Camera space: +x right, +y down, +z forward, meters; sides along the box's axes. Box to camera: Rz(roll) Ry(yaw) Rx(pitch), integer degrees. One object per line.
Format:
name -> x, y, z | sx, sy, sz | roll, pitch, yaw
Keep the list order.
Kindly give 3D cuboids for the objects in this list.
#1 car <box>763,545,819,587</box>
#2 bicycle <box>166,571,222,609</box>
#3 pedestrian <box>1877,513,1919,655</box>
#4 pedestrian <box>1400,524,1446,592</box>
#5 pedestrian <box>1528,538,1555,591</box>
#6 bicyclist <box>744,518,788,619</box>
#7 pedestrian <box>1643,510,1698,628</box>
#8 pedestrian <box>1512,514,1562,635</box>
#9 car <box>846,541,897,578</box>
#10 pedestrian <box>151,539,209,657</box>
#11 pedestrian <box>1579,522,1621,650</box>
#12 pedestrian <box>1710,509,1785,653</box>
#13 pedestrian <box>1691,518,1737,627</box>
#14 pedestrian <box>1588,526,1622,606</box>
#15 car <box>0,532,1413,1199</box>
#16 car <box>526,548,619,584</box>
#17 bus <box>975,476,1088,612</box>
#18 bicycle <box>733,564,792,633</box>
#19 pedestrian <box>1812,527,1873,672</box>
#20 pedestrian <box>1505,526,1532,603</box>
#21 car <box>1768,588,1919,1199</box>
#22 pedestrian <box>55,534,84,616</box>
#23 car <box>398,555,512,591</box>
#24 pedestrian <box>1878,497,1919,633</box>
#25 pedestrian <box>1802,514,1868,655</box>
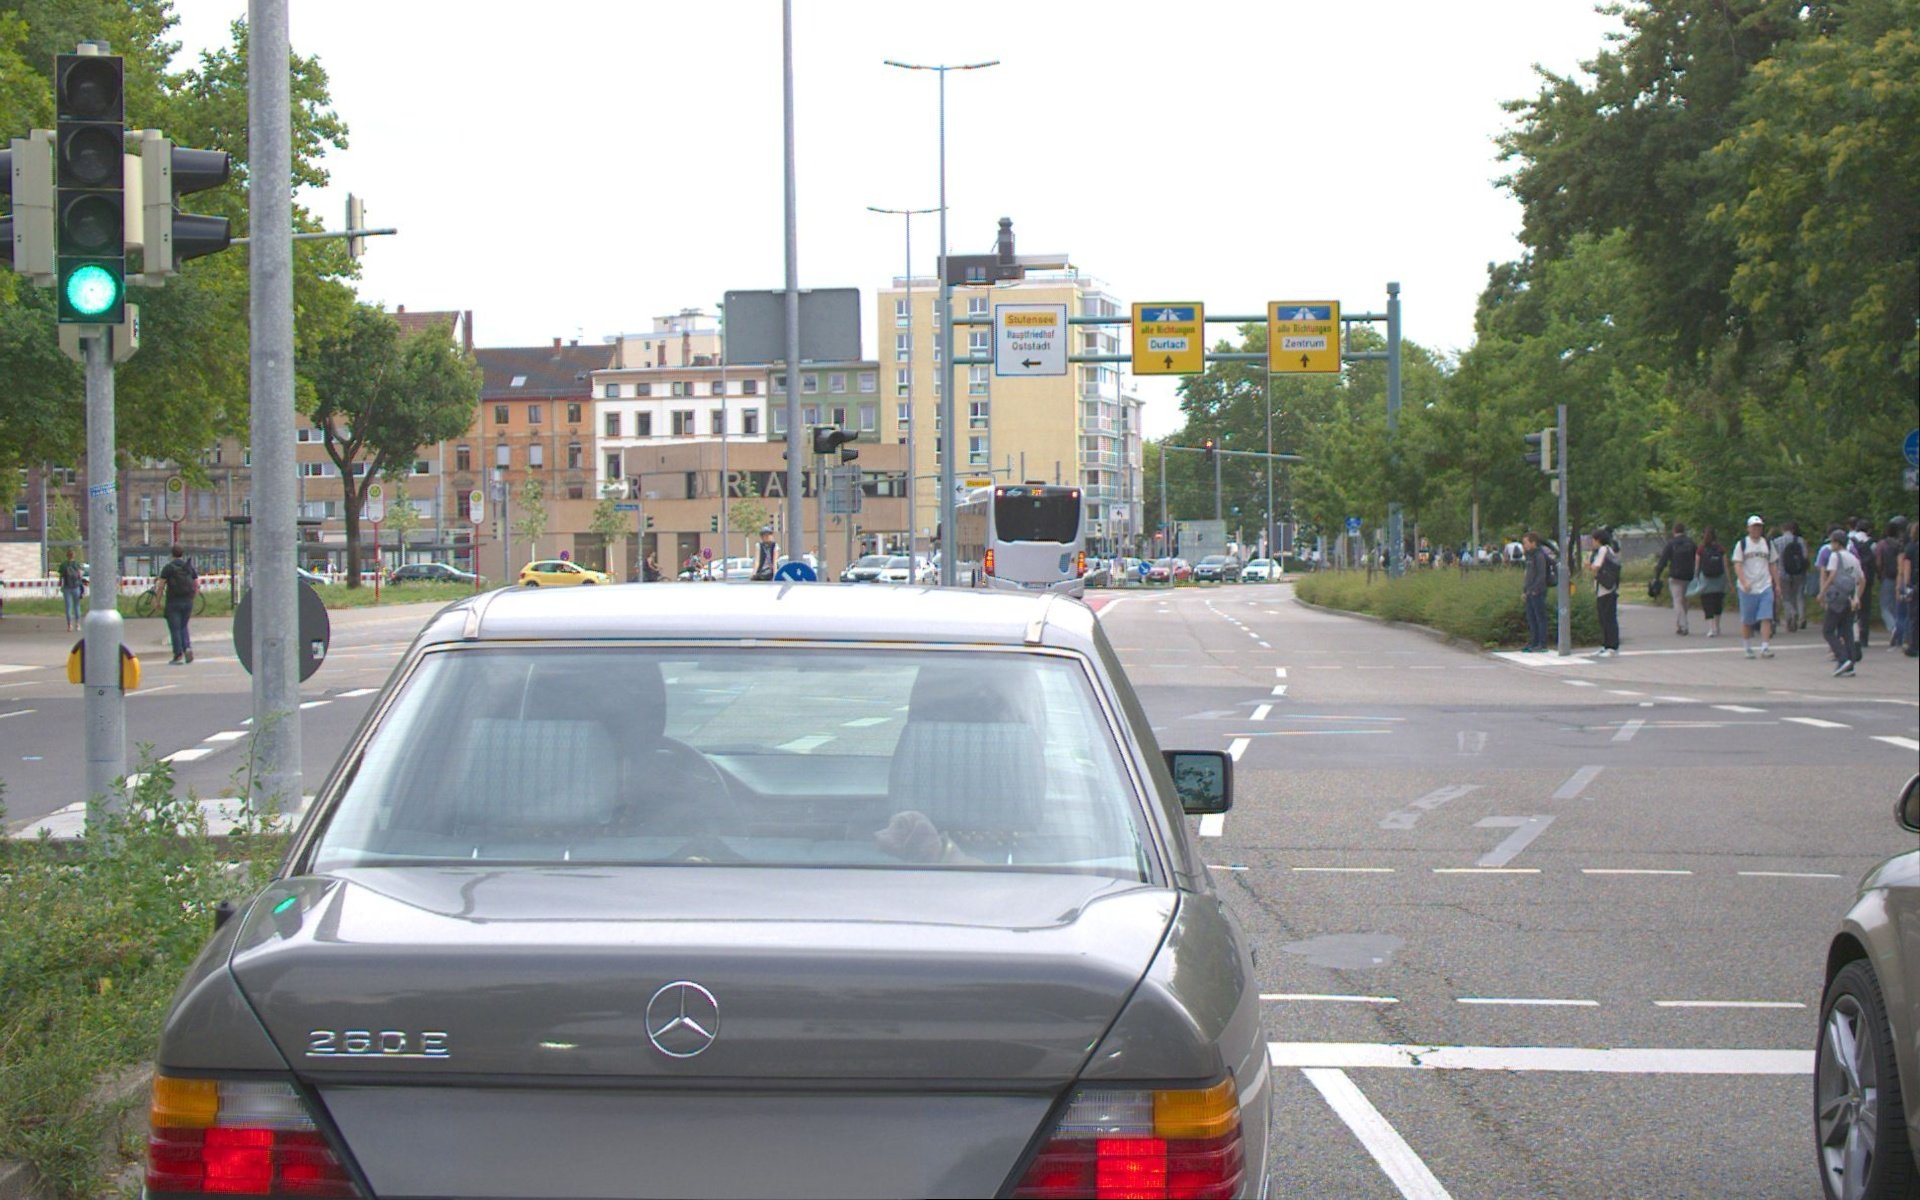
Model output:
car -> -6.092, -1.245, 124.342 | 1.761, 1.484, 4.546 | 0, 1, 0
bicycle -> -19.199, -0.261, 86.208 | 0.470, 0.915, 2.338 | 0, 1, 11
pedestrian -> 11.859, -0.205, 42.836 | 0.656, 1.739, 0.780 | -1, 1, 1
pedestrian -> 12.418, -1.125, 92.142 | 0.935, 1.824, 0.885 | 0, 1, 30
pedestrian -> 16.006, -0.985, 94.666 | 0.657, 1.465, 0.562 | 0, 1, 1
bicyclist -> -3.037, -0.499, 53.835 | 0.572, 1.568, 0.699 | 0, 1, 7
pedestrian -> 11.114, -0.491, 53.803 | 0.693, 1.815, 0.954 | -1, 1, 3
pedestrian -> 8.297, -0.372, 49.453 | 0.601, 1.729, 0.654 | 0, 1, 1
car -> -3.652, -1.685, 142.530 | 1.802, 1.484, 4.288 | 0, 1, 3
pedestrian -> -11.764, -0.027, 51.836 | 0.758, 1.776, 0.722 | 0, -1, -21
pedestrian -> 8.718, -0.200, 46.825 | 0.454, 1.729, 0.637 | 0, 1, 1
pedestrian -> 10.228, -0.253, 44.687 | 0.644, 1.846, 0.829 | 1, 0, -11
pedestrian -> 11.563, -0.424, 52.716 | 0.555, 1.649, 0.753 | -1, 1, 3
pedestrian -> 13.584, -0.719, 72.414 | 0.587, 1.677, 0.748 | -1, 1, 3
car -> -0.336, 0.627, 6.387 | 1.761, 1.484, 4.171 | 0, 1, -1
car -> -16.709, -1.473, 148.331 | 3.856, 1.512, 1.660 | 1, 1, -2
bus -> 1.868, -1.471, 90.059 | 2.831, 3.379, 8.183 | 0, 1, 1
bicycle -> -3.078, -0.035, 53.716 | 0.573, 1.052, 1.926 | 0, 1, 7
pedestrian -> 10.285, -0.012, 40.067 | 0.545, 1.681, 0.637 | 0, 1, 1
pedestrian -> 14.601, -0.941, 89.877 | 0.614, 2.007, 0.597 | 0, 1, 2
car -> 2.792, 0.725, 6.128 | 1.724, 1.452, 3.736 | 0, 1, -2
pedestrian -> -18.241, -0.507, 70.429 | 0.560, 1.662, 0.627 | 0, -1, -14
car -> -21.753, -1.167, 148.246 | 4.669, 1.470, 1.660 | 1, 1, -2
pedestrian -> 12.292, -0.451, 44.409 | 0.656, 1.739, 0.780 | -1, 1, 1
pedestrian -> 10.911, -0.199, 42.896 | 0.624, 1.739, 0.780 | -1, 1, 1
